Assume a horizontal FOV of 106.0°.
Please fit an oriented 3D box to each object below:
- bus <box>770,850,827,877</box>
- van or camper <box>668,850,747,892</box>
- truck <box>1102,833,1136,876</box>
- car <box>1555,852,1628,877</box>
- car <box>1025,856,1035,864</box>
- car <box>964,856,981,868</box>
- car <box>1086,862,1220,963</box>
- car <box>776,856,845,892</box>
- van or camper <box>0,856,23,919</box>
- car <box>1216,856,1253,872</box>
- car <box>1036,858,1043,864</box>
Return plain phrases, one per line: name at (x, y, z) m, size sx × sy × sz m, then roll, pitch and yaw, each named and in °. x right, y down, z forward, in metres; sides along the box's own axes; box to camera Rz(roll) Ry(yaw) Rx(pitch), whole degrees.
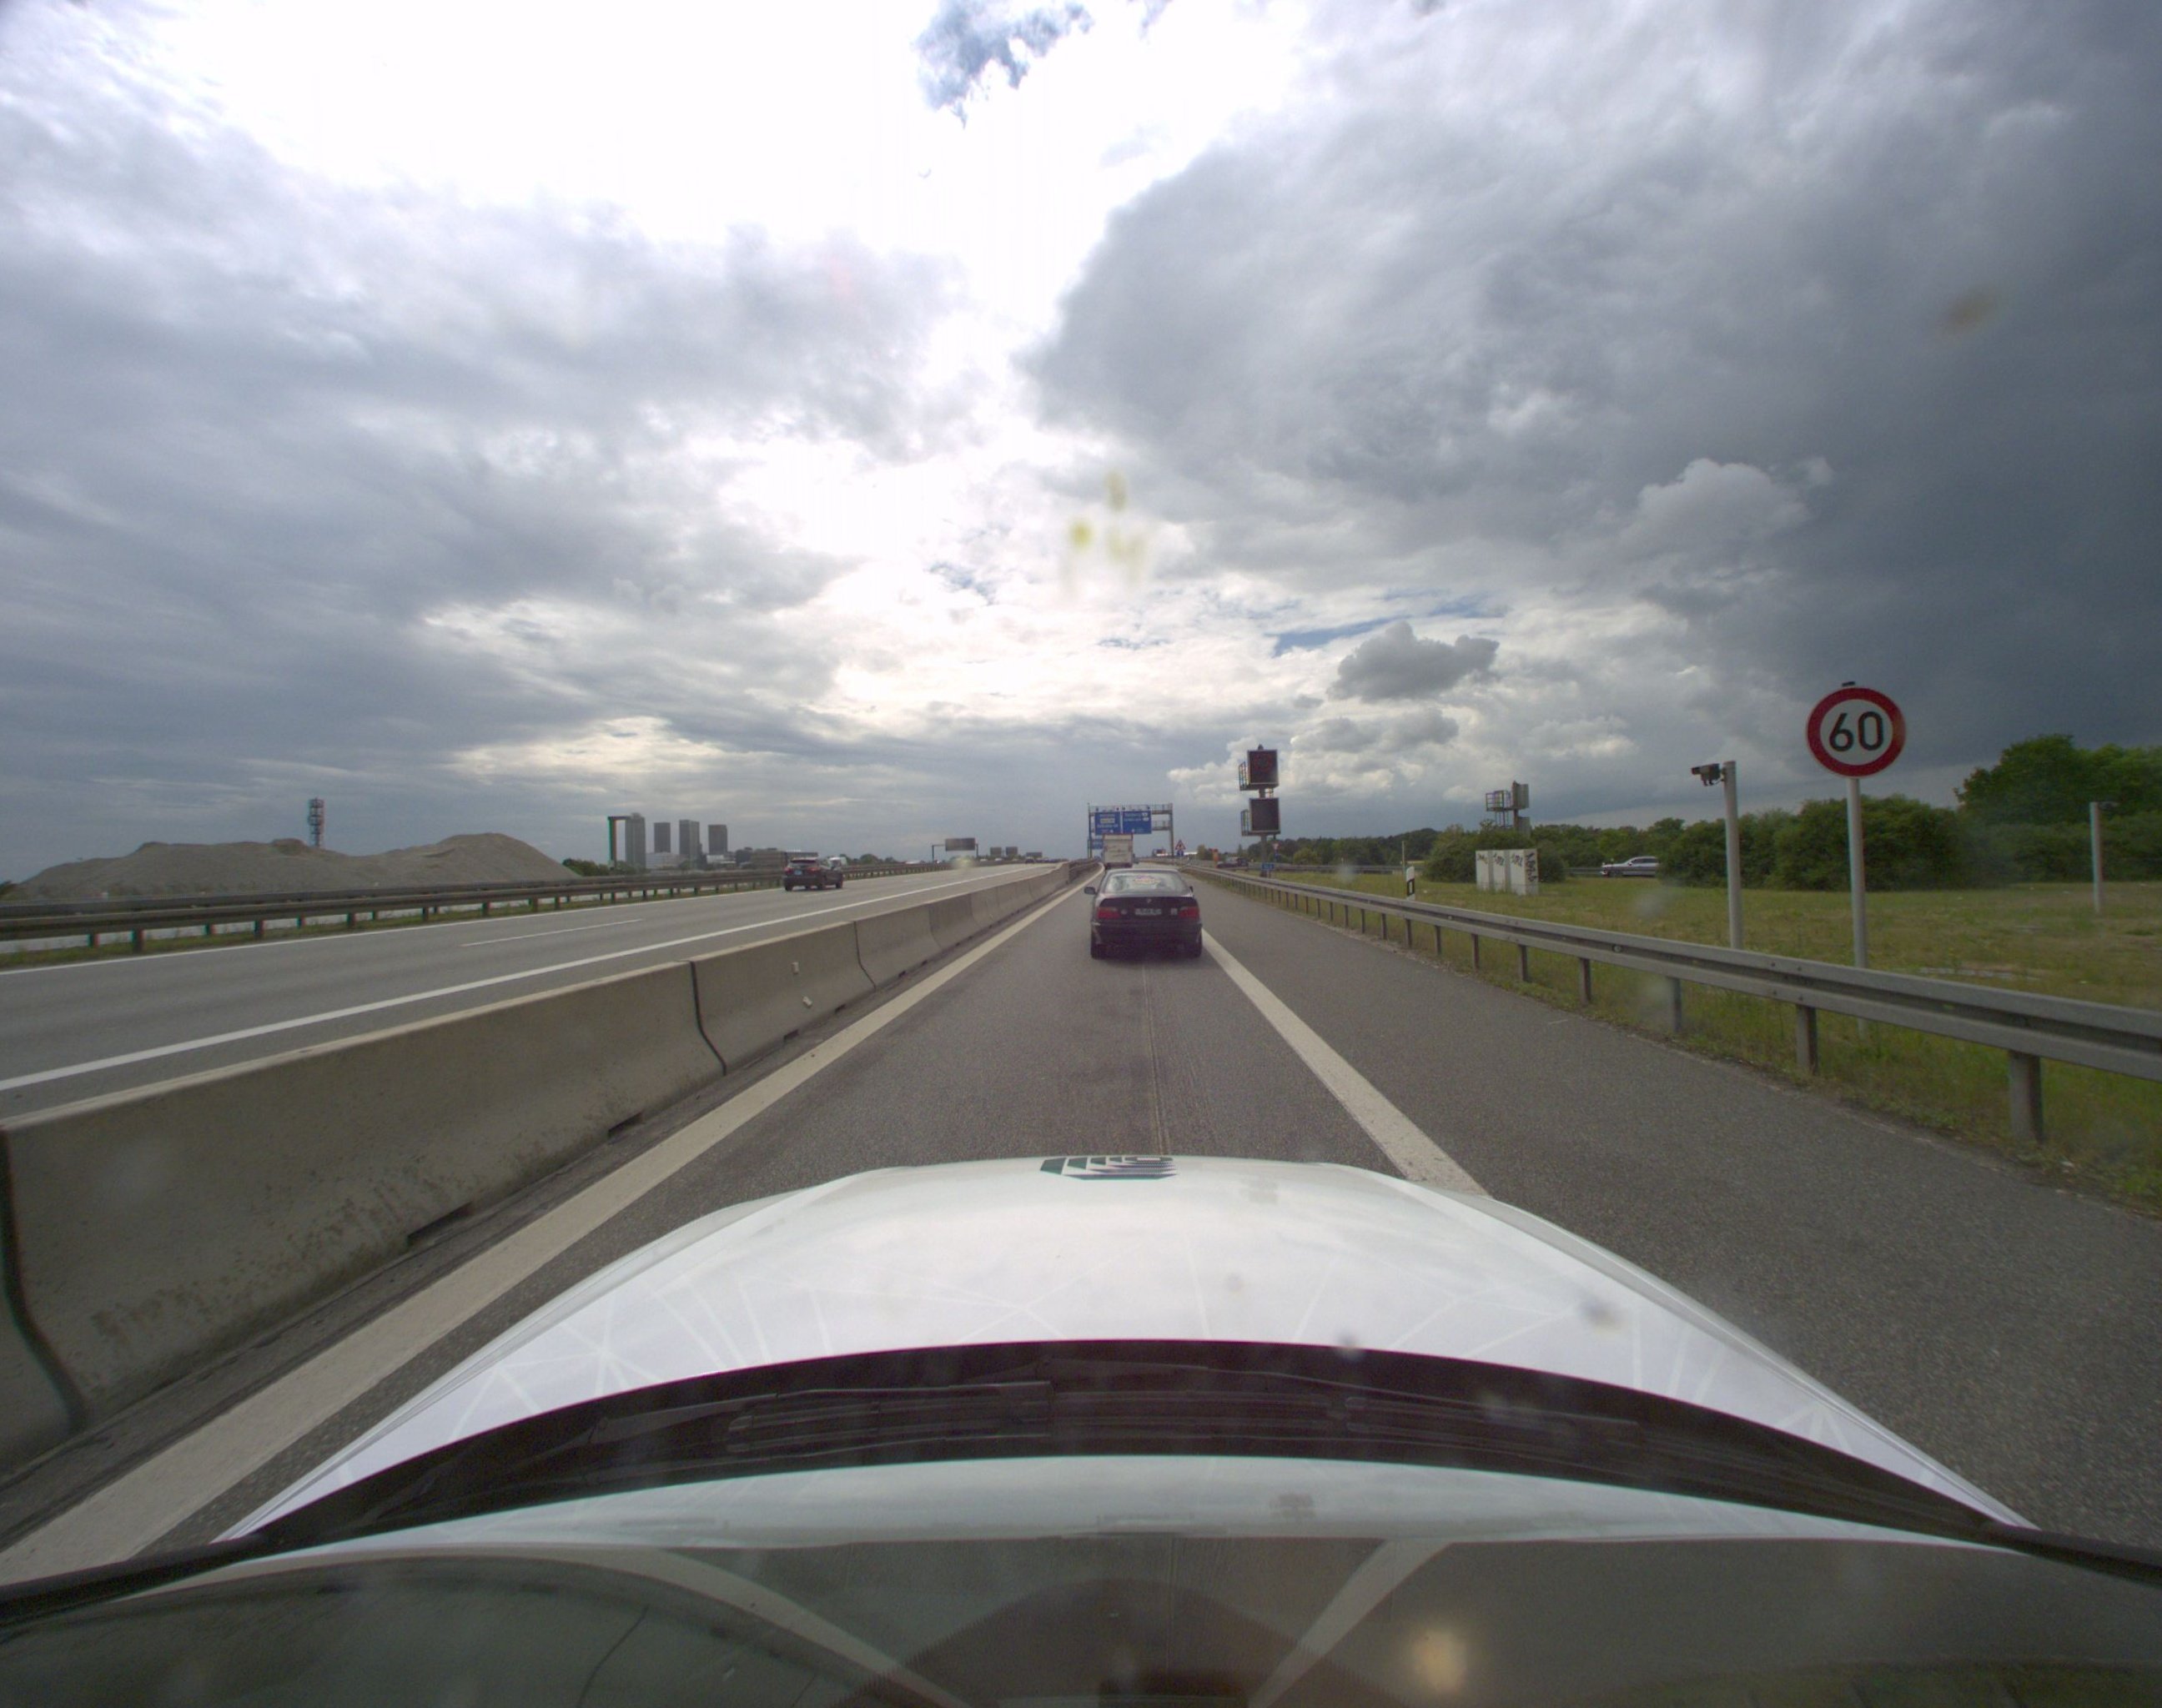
bus at (-37.813, 1.202, 109.677) m, size 3.204 × 3.442 × 12.989 m, roll 0°, pitch 0°, yaw 0°
van or camper at (-25.116, 1.063, 55.156) m, size 2.180 × 2.619 × 6.903 m, roll -1°, pitch 0°, yaw 0°
truck at (2.813, 0.035, 61.688) m, size 2.395 × 3.090 × 6.372 m, roll -1°, pitch 0°, yaw 2°
car at (35.320, 0.723, 56.391) m, size 4.154 × 1.685 × 1.954 m, roll -1°, pitch -1°, yaw 34°
car at (-11.571, 1.311, 185.385) m, size 1.987 × 1.662 × 4.382 m, roll -1°, pitch 0°, yaw -1°
car at (-15.777, 1.169, 118.448) m, size 1.660 × 1.706 × 4.003 m, roll -1°, pitch 0°, yaw 3°
car at (1.014, 0.830, 13.390) m, size 1.777 × 1.378 × 4.135 m, roll 0°, pitch 0°, yaw -1°
car at (-12.882, 0.899, 39.123) m, size 1.887 × 1.597 × 4.415 m, roll 0°, pitch 0°, yaw -1°
van or camper at (-38.578, 1.166, 25.944) m, size 2.180 × 2.172 × 5.807 m, roll -1°, pitch 0°, yaw -1°
car at (15.574, 1.030, 82.836) m, size 1.999 × 1.552 × 3.974 m, roll 0°, pitch 0°, yaw -19°
car at (-11.683, 2.029, 229.480) m, size 1.987 × 1.541 × 3.999 m, roll -1°, pitch 0°, yaw -1°
